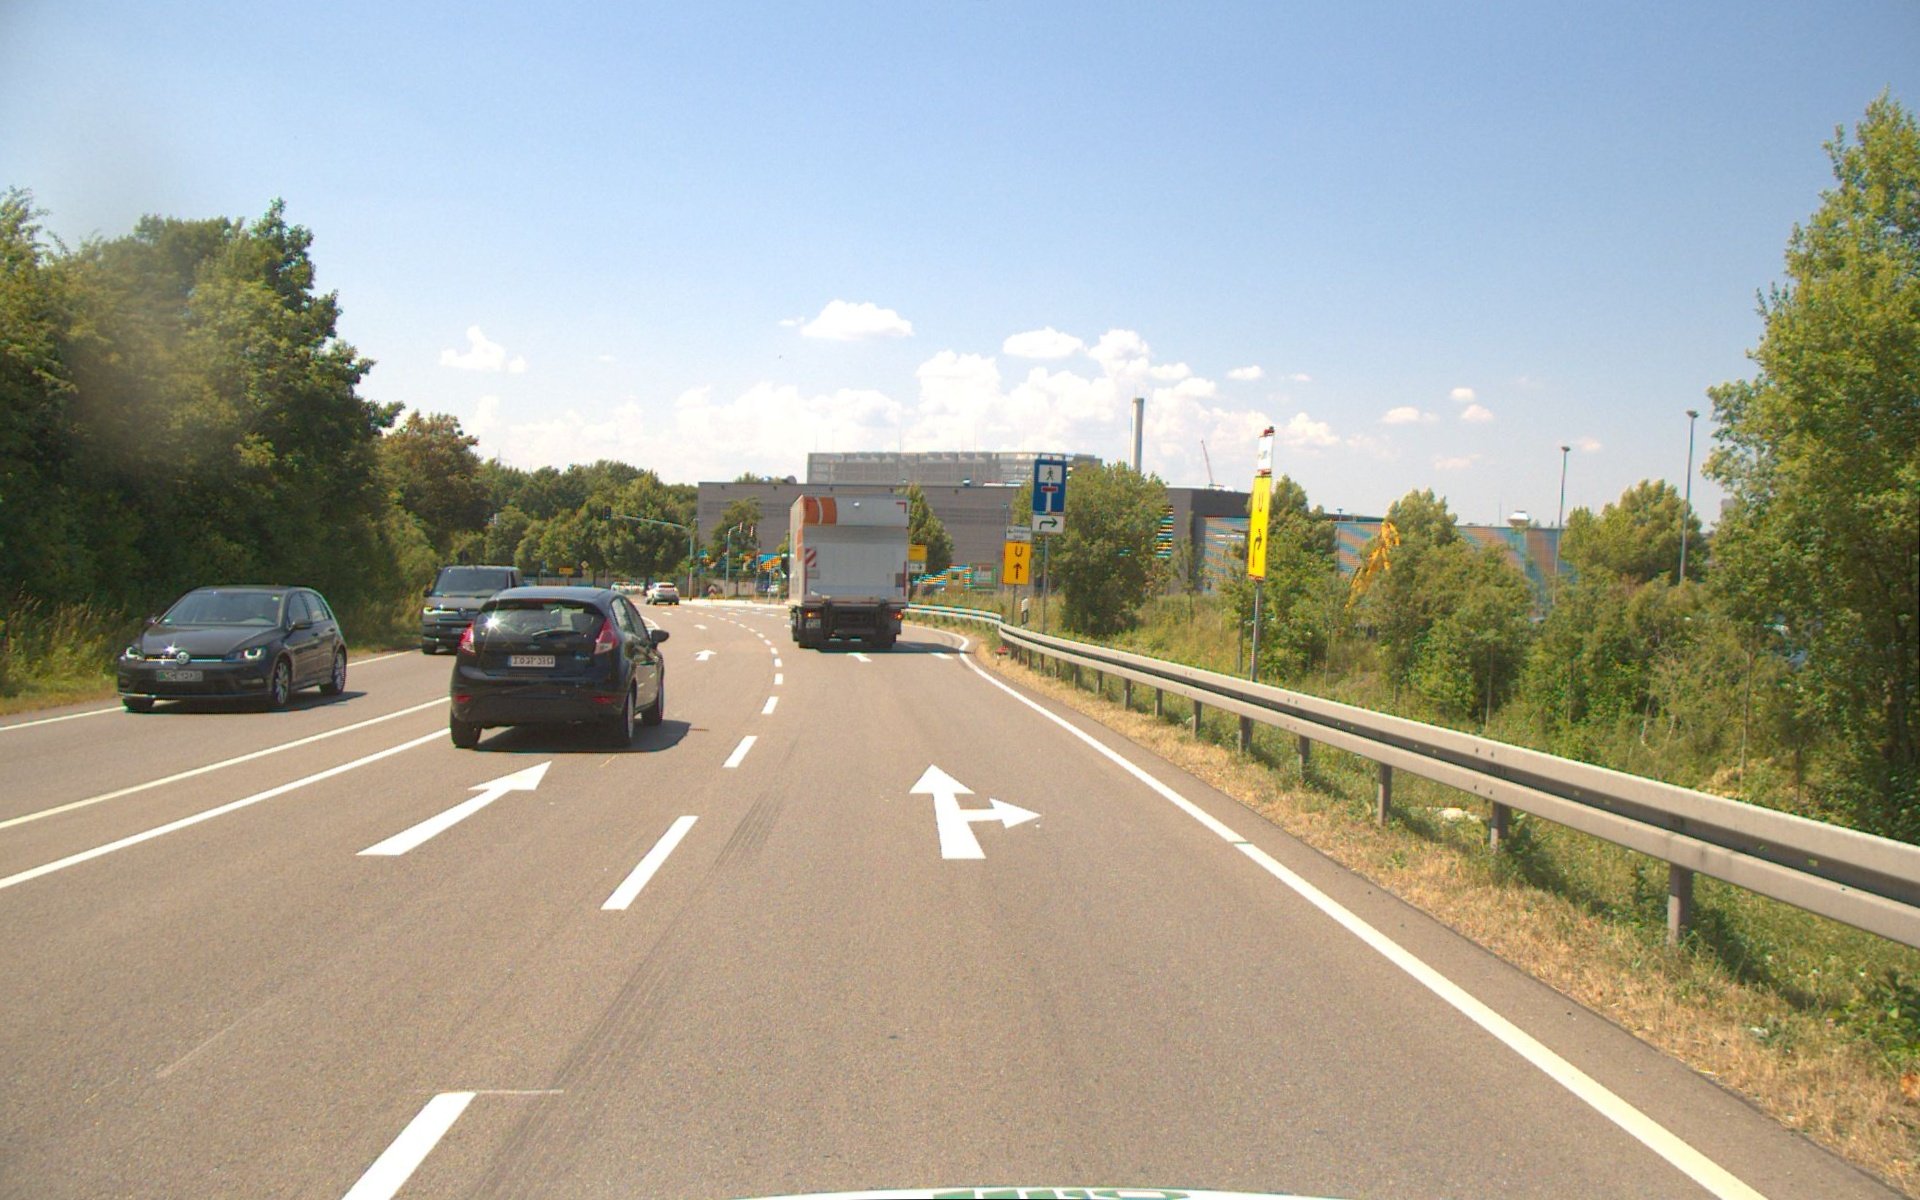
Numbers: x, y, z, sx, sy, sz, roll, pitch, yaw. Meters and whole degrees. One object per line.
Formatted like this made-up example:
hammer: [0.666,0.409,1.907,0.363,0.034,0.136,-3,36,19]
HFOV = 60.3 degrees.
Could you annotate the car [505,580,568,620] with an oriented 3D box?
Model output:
car: [-16.271,-0.020,63.700,1.782,1.467,4.636,0,1,-7]

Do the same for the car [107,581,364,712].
car: [-8.957,0.503,20.853,1.842,1.467,4.322,0,1,-8]

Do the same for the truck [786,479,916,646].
truck: [-2.977,-0.960,42.413,2.750,3.775,9.094,1,1,-7]

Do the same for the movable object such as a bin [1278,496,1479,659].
movable object such as a bin: [14.970,-0.996,60.151,3.362,5.351,9.210,2,3,-10]

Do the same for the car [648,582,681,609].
car: [-20.396,-0.329,114.017,1.911,1.693,3.985,4,0,-14]

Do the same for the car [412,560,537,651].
car: [-10.954,0.089,37.671,1.956,1.927,5.096,0,1,-7]

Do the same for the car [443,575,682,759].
car: [-3.875,0.565,16.772,1.620,1.519,4.205,1,2,-4]
